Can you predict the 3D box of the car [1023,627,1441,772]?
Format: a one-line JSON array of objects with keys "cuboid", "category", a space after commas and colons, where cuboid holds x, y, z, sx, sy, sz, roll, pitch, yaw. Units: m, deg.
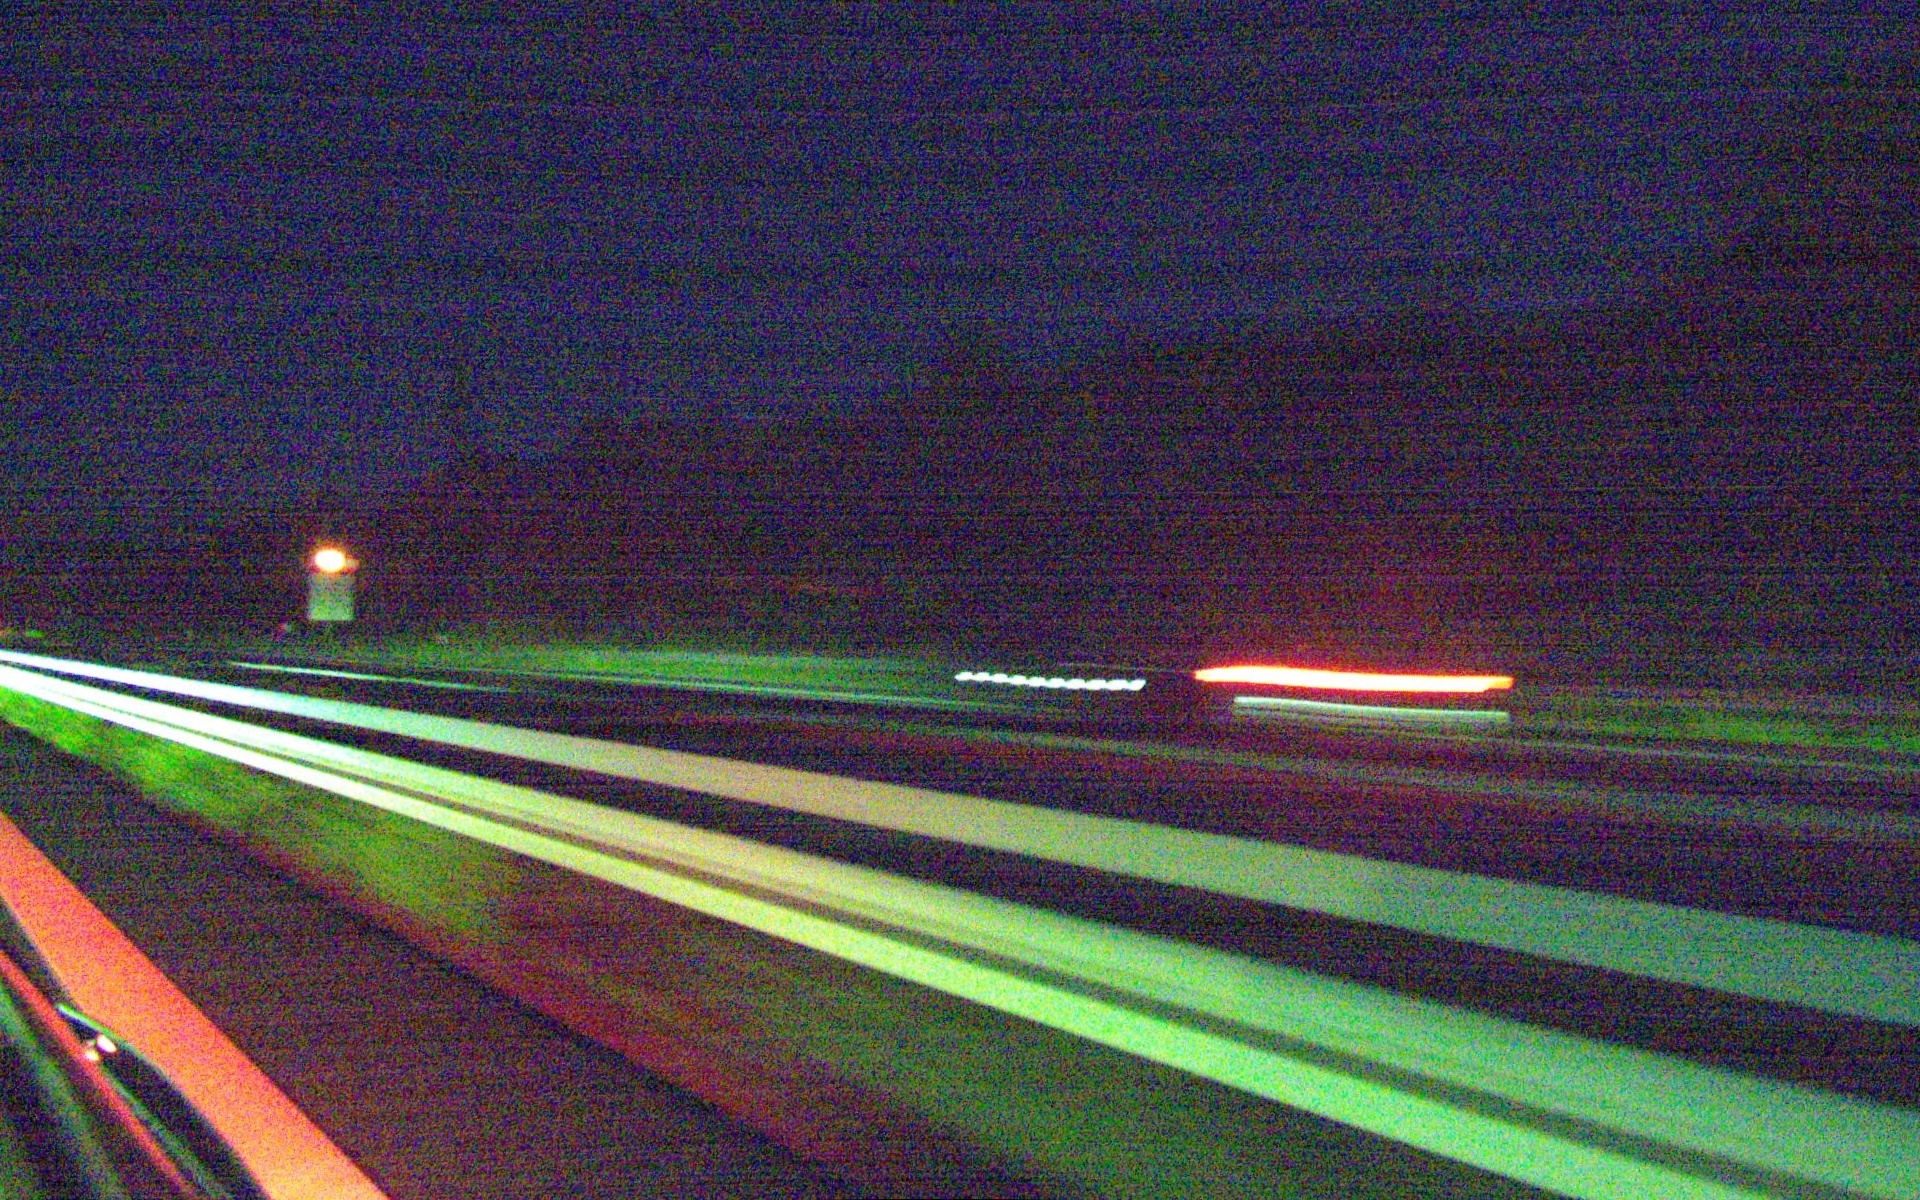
[{"cuboid": [3.268, 1.107, 12.686, 4.686, 1.472, 1.974, -1, -3, 39], "category": "car"}]
